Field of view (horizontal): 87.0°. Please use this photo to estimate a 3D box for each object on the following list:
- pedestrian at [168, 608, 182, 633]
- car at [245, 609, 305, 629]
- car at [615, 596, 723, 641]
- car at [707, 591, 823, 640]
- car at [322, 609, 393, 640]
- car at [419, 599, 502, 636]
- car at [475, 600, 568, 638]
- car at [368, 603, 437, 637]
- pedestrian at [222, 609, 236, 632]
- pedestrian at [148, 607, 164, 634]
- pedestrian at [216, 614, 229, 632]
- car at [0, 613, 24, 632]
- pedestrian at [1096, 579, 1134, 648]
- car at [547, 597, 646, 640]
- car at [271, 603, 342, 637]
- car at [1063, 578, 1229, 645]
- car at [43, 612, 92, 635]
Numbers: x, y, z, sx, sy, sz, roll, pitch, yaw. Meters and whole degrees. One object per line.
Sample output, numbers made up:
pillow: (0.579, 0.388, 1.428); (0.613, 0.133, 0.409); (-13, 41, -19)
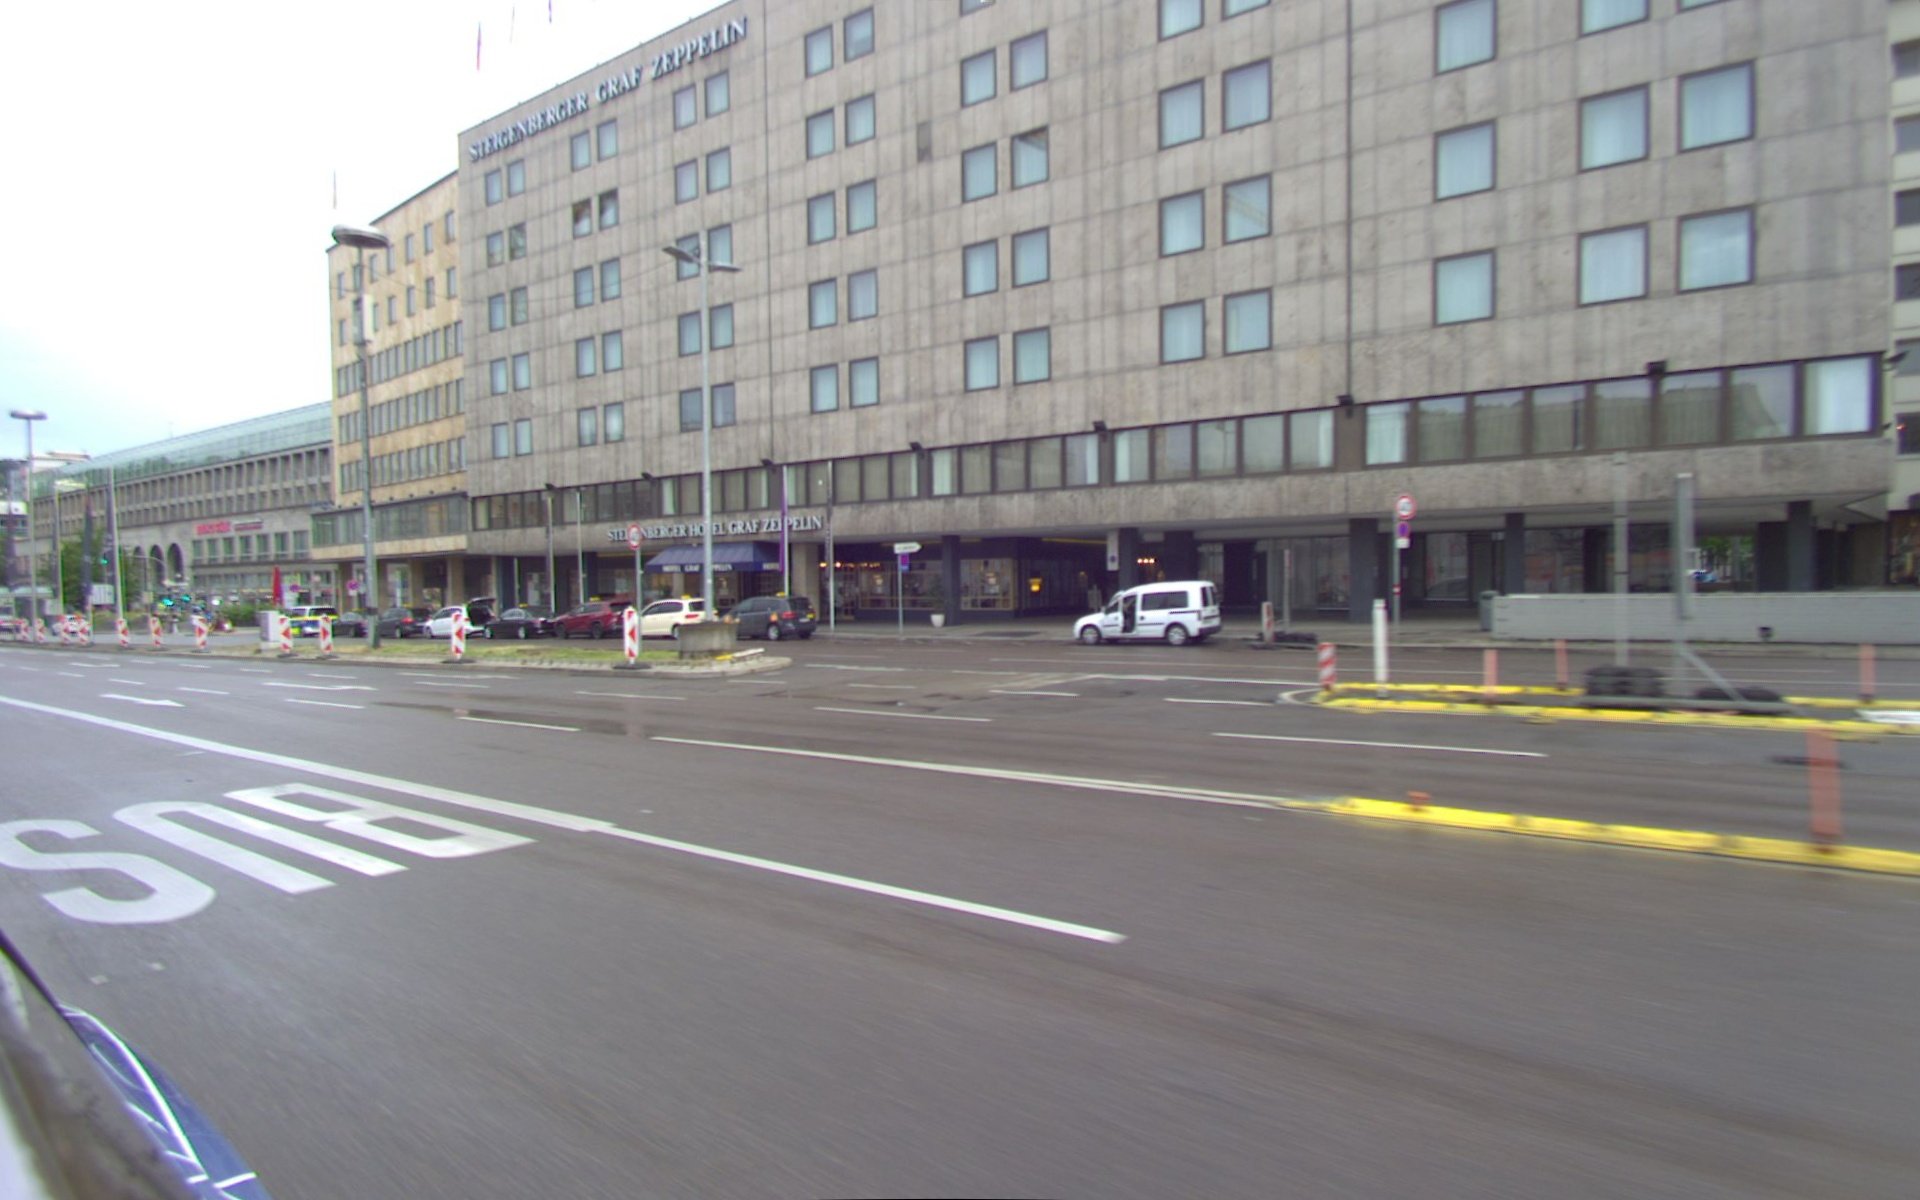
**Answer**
pedestrian: (-59.684, 1.556, 76.956); (0.750, 1.939, 0.584); (-1, 0, 35)
car: (-60.263, 1.645, 89.025); (1.805, 1.652, 4.039); (-1, 1, 40)
car: (-11.942, 0.751, 41.432); (4.568, 1.711, 1.800); (-1, 1, 36)
car: (-7.421, 0.573, 38.329); (4.507, 1.741, 1.799); (-1, 1, 38)
car: (-34.567, 1.383, 58.043); (4.554, 1.633, 1.739); (-1, 0, 35)
car: (-25.339, 0.886, 51.309); (4.700, 1.771, 1.739); (-1, 0, 35)
car: (-20.732, 0.900, 47.791); (4.607, 1.672, 1.886); (-1, 1, 36)
car: (-30.074, 1.090, 54.524); (4.223, 1.694, 1.737); (-2, 0, 38)
pedestrian: (-53.891, 1.518, 74.593); (0.751, 1.681, 0.558); (-1, 0, 33)
pedestrian: (-61.534, 1.559, 77.446); (0.805, 2.029, 0.697); (-1, 0, 35)
pedestrian: (-54.924, 1.695, 75.387); (0.751, 1.301, 0.558); (-1, 0, 33)
car: (-85.625, 2.016, 90.767); (4.492, 1.682, 1.758); (-1, 0, 37)
pedestrian: (4.338, 0.363, 28.357); (0.794, 1.900, 0.685); (-1, 0, 35)
car: (-16.062, 0.792, 44.648); (4.639, 1.781, 1.884); (-1, 1, 38)
car: (-40.364, 1.260, 62.458); (5.063, 1.943, 1.884); (-2, -1, 35)
car: (5.326, 0.325, 29.208); (4.362, 1.776, 1.759); (-1, 1, 35)
car: (-69.186, 1.788, 78.453); (4.489, 1.681, 1.808); (-1, 1, 35)
